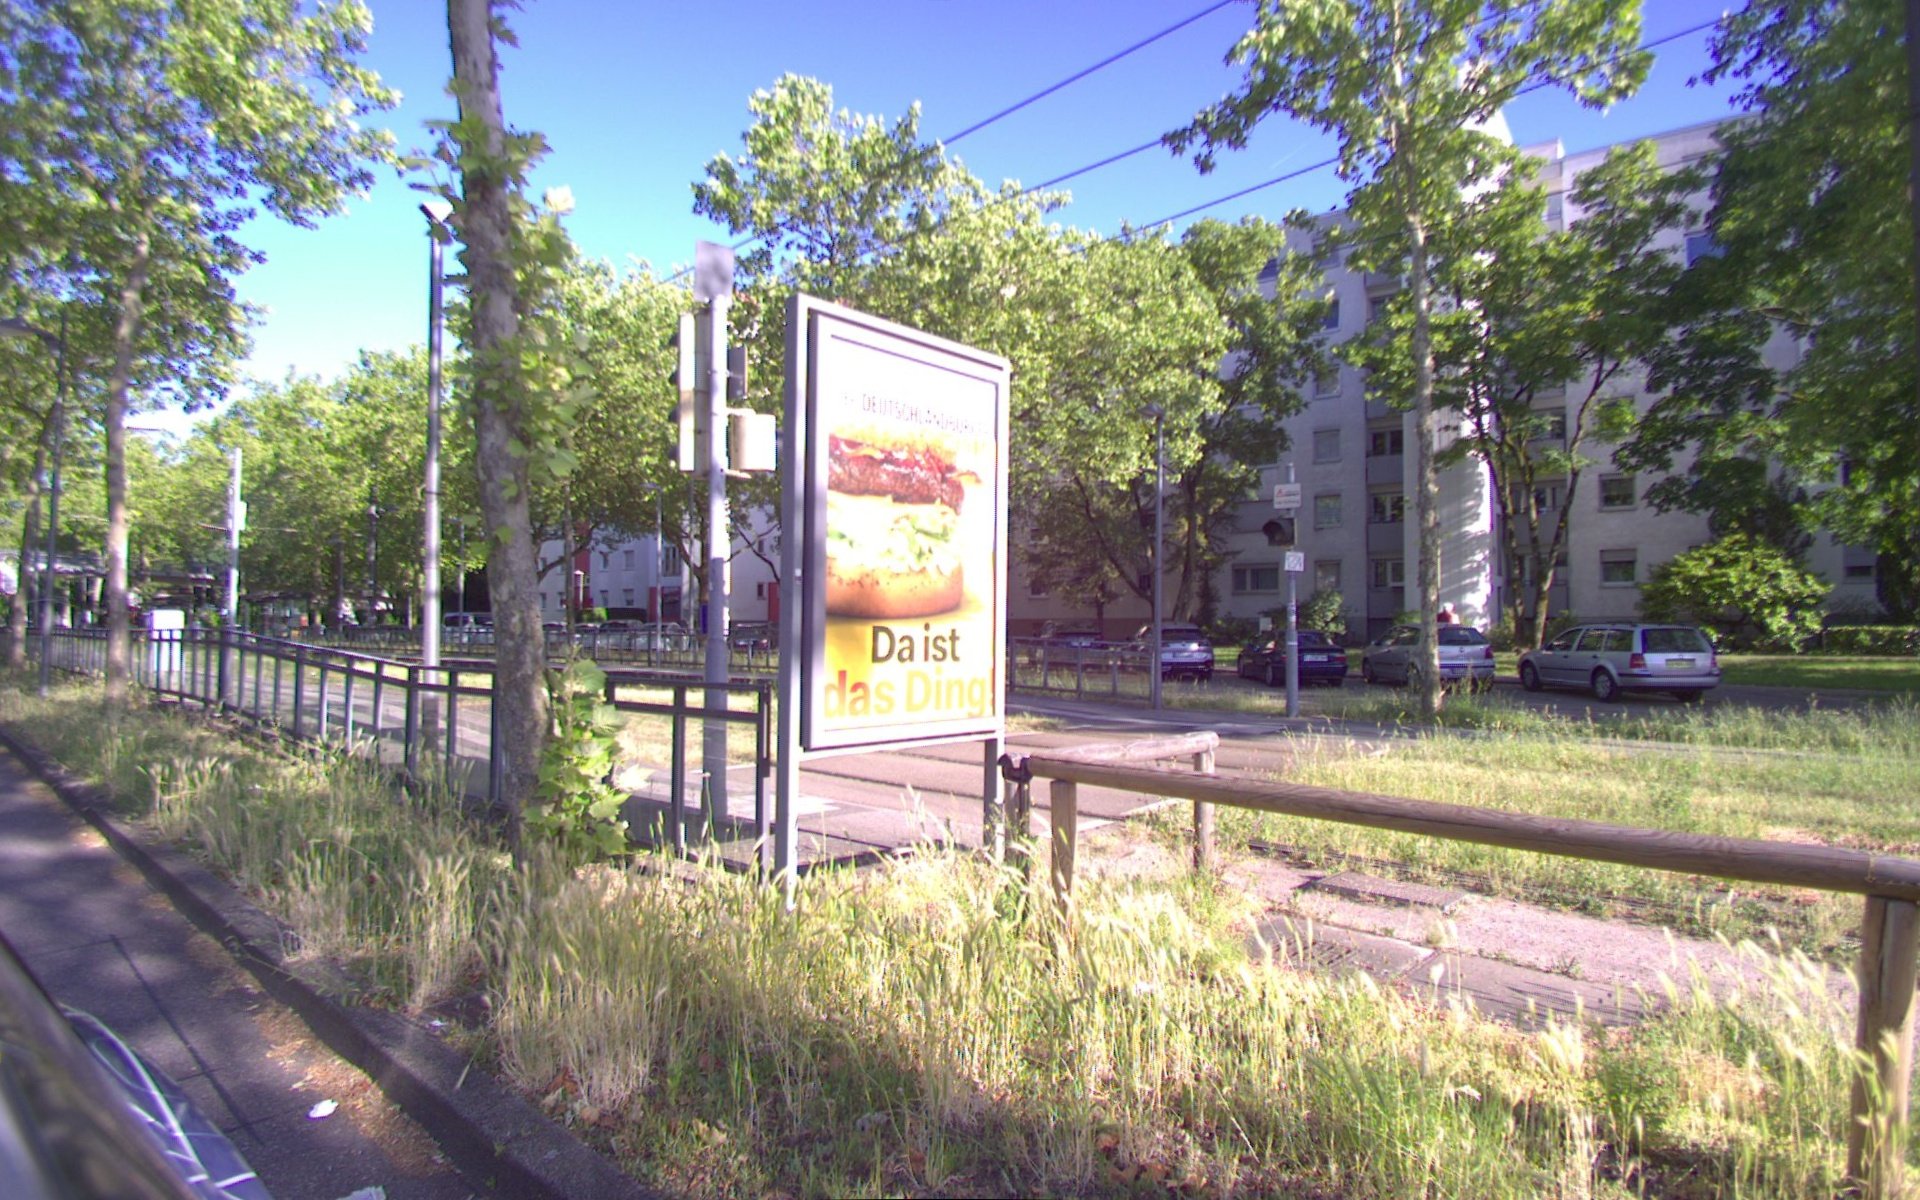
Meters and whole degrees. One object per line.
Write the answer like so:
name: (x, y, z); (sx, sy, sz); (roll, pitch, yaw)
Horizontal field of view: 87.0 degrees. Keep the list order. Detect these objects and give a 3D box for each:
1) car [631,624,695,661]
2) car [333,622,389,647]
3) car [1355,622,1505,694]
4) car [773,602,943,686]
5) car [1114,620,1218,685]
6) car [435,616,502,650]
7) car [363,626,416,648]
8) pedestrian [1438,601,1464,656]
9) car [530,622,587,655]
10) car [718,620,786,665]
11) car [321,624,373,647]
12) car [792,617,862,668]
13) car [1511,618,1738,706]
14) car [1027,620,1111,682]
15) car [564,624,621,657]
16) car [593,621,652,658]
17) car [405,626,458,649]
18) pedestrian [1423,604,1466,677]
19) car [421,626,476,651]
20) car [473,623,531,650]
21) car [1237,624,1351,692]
car: (-12.732, 1.791, 43.605); (1.470, 1.425, 3.880); (-1, 0, 3)
car: (-39.632, 2.284, 67.033); (1.578, 1.582, 3.830); (0, -1, -3)
car: (10.313, 1.225, 22.507); (1.553, 1.431, 3.620); (-1, -1, -1)
car: (-2.726, 1.105, 26.293); (4.652, 2.007, 1.772); (-2, -2, 43)
car: (5.340, 1.327, 26.710); (1.650, 1.469, 4.004); (-1, 0, -4)
car: (-27.202, 1.792, 56.166); (1.843, 1.826, 4.048); (0, -1, -1)
car: (-36.598, 2.362, 65.005); (1.459, 1.330, 3.487); (0, -1, -1)
pedestrian: (15.997, 0.915, 32.992); (0.634, 1.770, 0.516); (-2, -2, 39)
car: (-19.819, 1.886, 50.068); (1.539, 1.436, 3.489); (-3, 0, -2)
car: (-7.849, 1.575, 38.525); (1.609, 1.499, 3.997); (-1, 0, 3)
car: (-43.442, 2.506, 71.831); (1.578, 1.538, 3.737); (0, -1, -3)
car: (-4.673, 1.469, 36.052); (1.791, 1.607, 3.997); (-1, 0, 3)
car: (12.708, 1.127, 19.687); (1.685, 1.454, 3.978); (-1, 0, -1)
car: (3.014, 1.389, 28.693); (1.669, 1.499, 4.003); (-1, 0, -4)
car: (-17.500, 1.903, 48.367); (1.459, 1.339, 3.488); (-2, 0, -1)
car: (-15.349, 1.764, 46.157); (1.445, 1.519, 3.393); (-1, 0, 3)
car: (-31.898, 2.258, 61.150); (1.459, 1.311, 3.487); (0, -1, -1)
pedestrian: (12.091, 1.005, 25.247); (0.755, 1.770, 0.752); (-2, -2, 42)
car: (-29.463, 2.185, 58.428); (1.459, 1.354, 3.487); (0, -1, -1)
car: (-24.617, 1.934, 54.467); (1.605, 1.414, 3.487); (0, -1, -1)
car: (7.916, 1.327, 24.299); (1.572, 1.360, 3.922); (-1, 0, 3)
